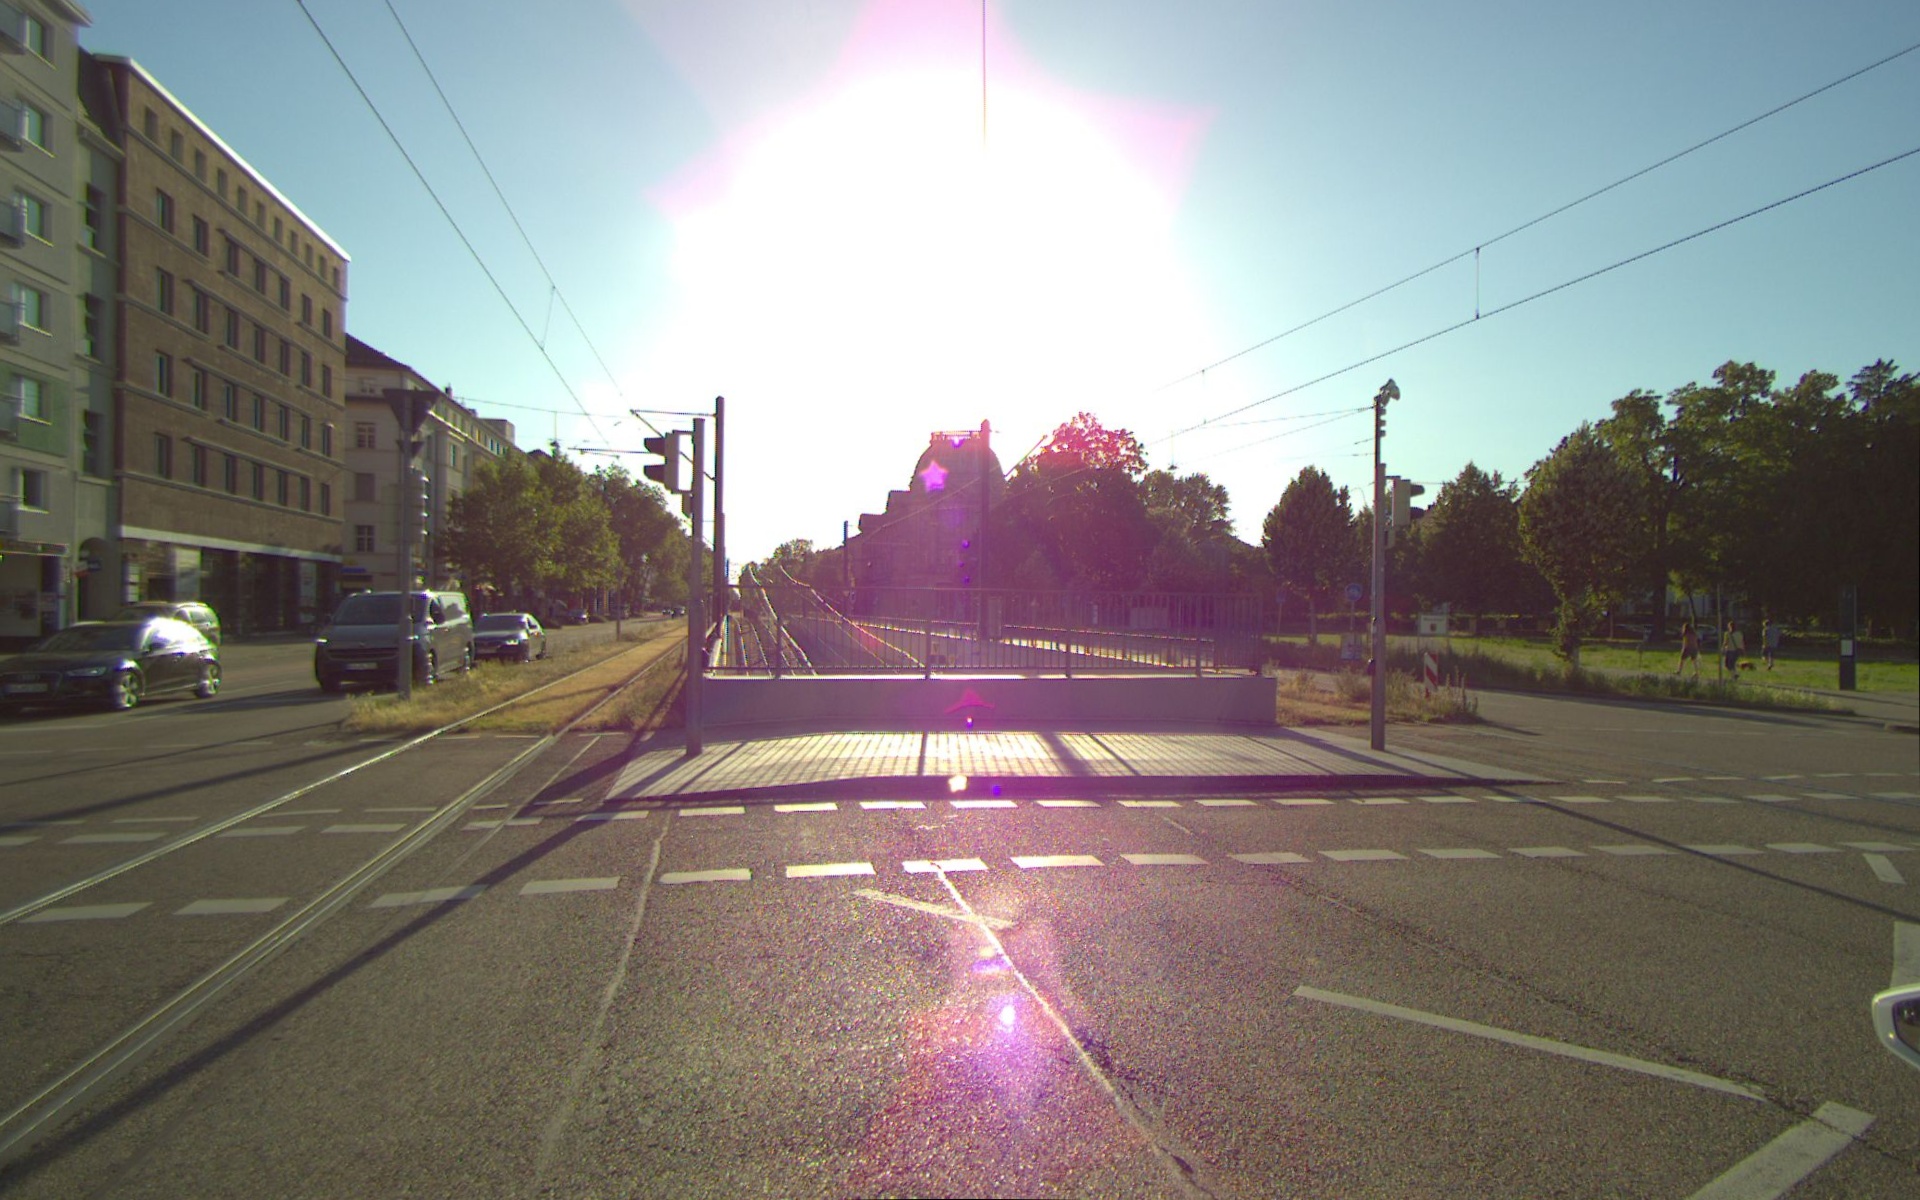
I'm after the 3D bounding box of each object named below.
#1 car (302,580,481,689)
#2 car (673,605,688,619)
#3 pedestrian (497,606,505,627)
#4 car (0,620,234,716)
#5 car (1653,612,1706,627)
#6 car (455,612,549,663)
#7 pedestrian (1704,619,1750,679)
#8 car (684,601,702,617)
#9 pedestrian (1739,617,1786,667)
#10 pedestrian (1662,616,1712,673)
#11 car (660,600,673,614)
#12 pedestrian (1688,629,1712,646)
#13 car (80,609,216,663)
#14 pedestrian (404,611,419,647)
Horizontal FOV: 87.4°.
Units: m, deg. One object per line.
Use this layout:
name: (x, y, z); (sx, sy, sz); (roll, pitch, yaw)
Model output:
car: (-11.850, 0.685, 21.358); (1.966, 2.040, 4.926); (1, -1, -13)
car: (-40.738, 1.697, 146.434); (1.968, 2.040, 3.984); (1, -1, -18)
pedestrian: (-38.681, 1.405, 84.668); (0.483, 1.731, 0.548); (1, 0, -12)
car: (-14.077, 1.034, 16.693); (1.770, 1.330, 4.190); (1, -1, -13)
car: (79.750, 2.173, 111.395); (1.971, 1.592, 4.440); (1, -1, -23)
car: (-13.451, 1.065, 29.715); (1.770, 1.392, 3.903); (1, -1, -13)
pedestrian: (22.692, 1.428, 29.729); (0.696, 1.719, 0.896); (1, 1, 9)
car: (-35.179, 1.161, 132.313); (1.968, 2.040, 3.984); (1, -1, -18)
pedestrian: (28.585, 1.468, 35.805); (0.833, 1.719, 1.010); (1, 1, -24)
pedestrian: (22.823, 1.387, 31.547); (0.827, 1.719, 1.017); (1, 1, 6)
car: (-51.233, 1.226, 175.478); (1.966, 2.274, 3.990); (1, 0, -13)
pedestrian: (44.654, 2.278, 60.617); (1.161, 0.966, 0.797); (1, 1, -33)
car: (-24.806, 1.052, 30.860); (1.667, 1.528, 3.989); (1, -1, -14)
pedestrian: (-32.228, 1.704, 58.972); (0.710, 2.040, 0.723); (1, 0, -27)
